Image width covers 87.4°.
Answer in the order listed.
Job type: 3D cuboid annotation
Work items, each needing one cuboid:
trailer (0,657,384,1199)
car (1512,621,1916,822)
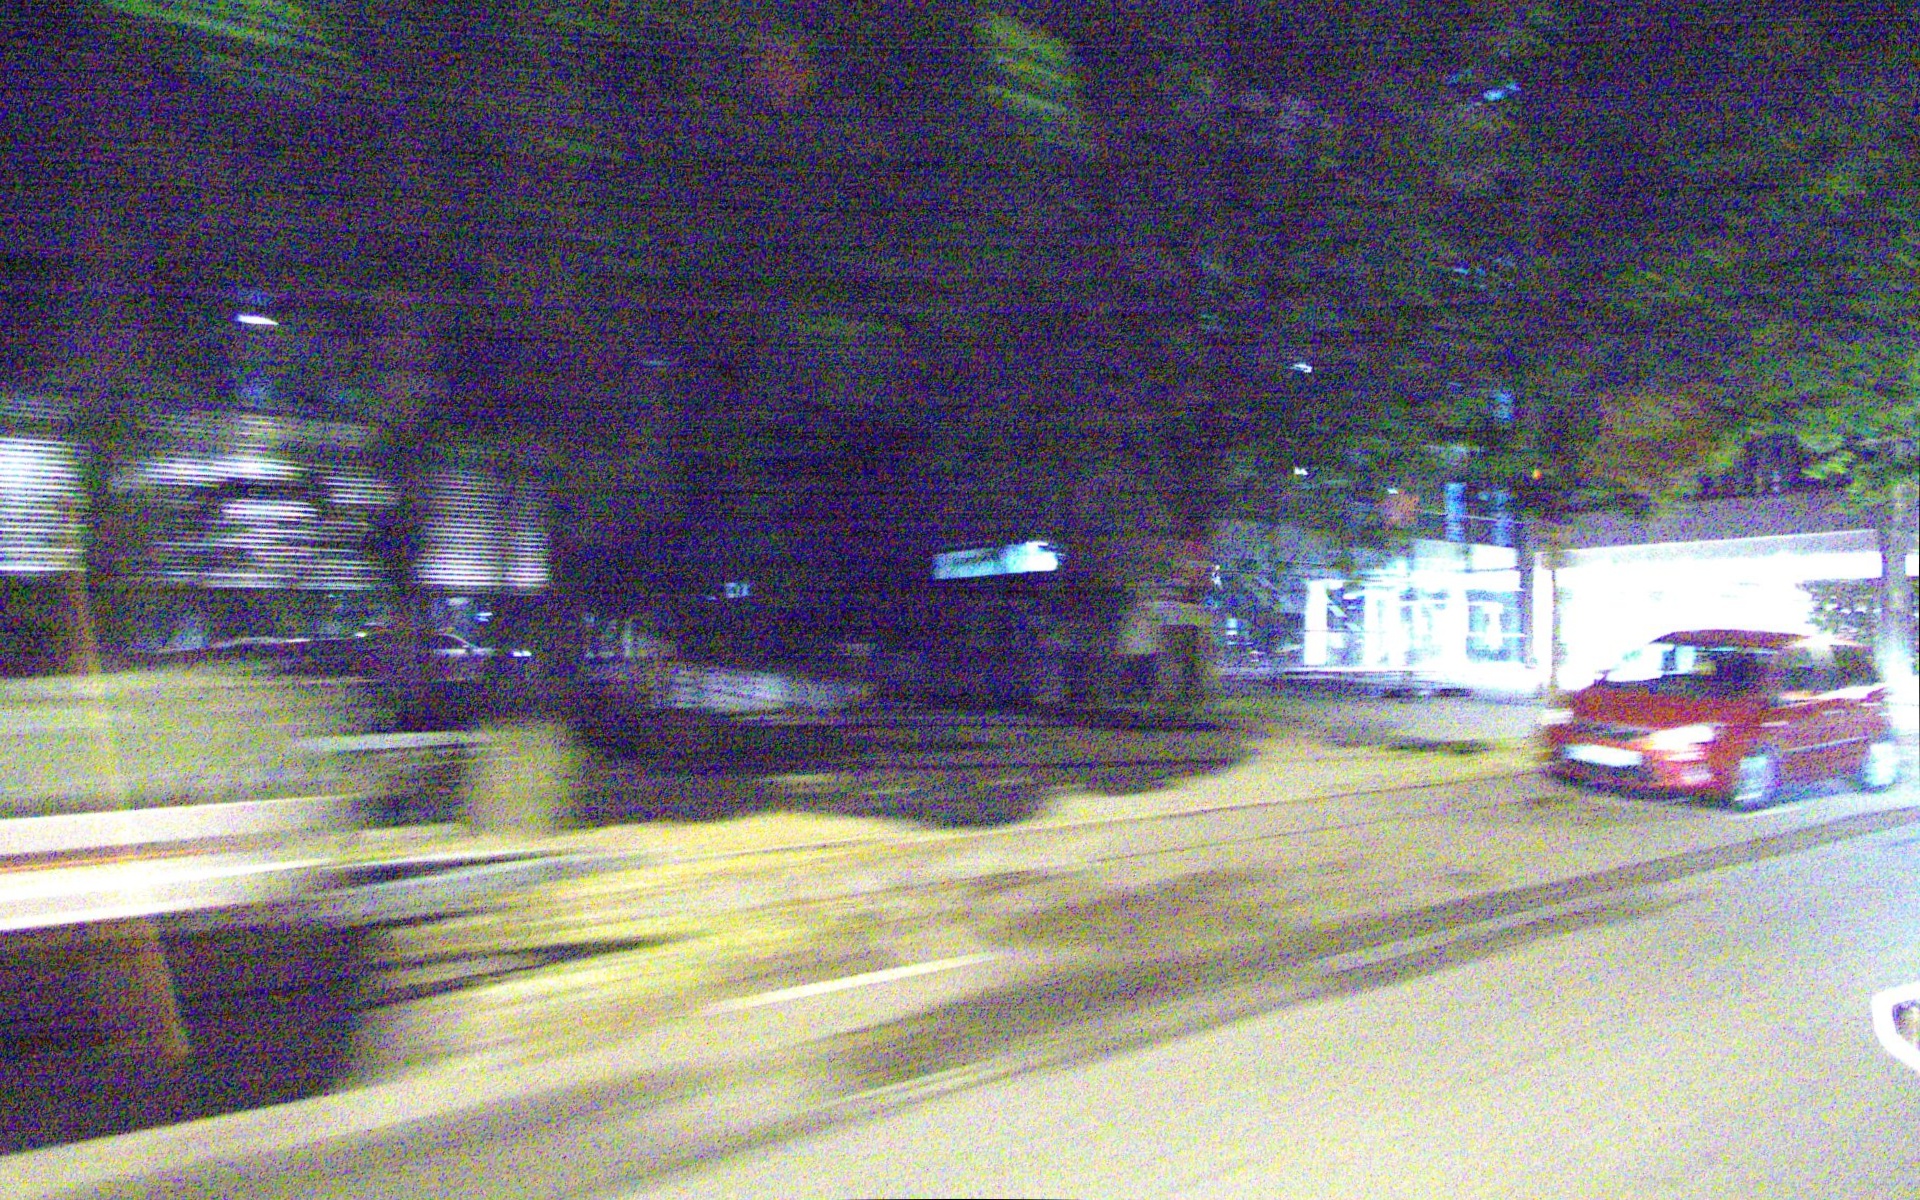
[{"bbox_3d":[-4.723,0.920,2.755,5.369,1.352,2.101,2,1,-29],"label":"trailer"},{"bbox_3d":[7.806,1.092,10.356,4.023,1.620,1.814,1,2,-29],"label":"car"}]
